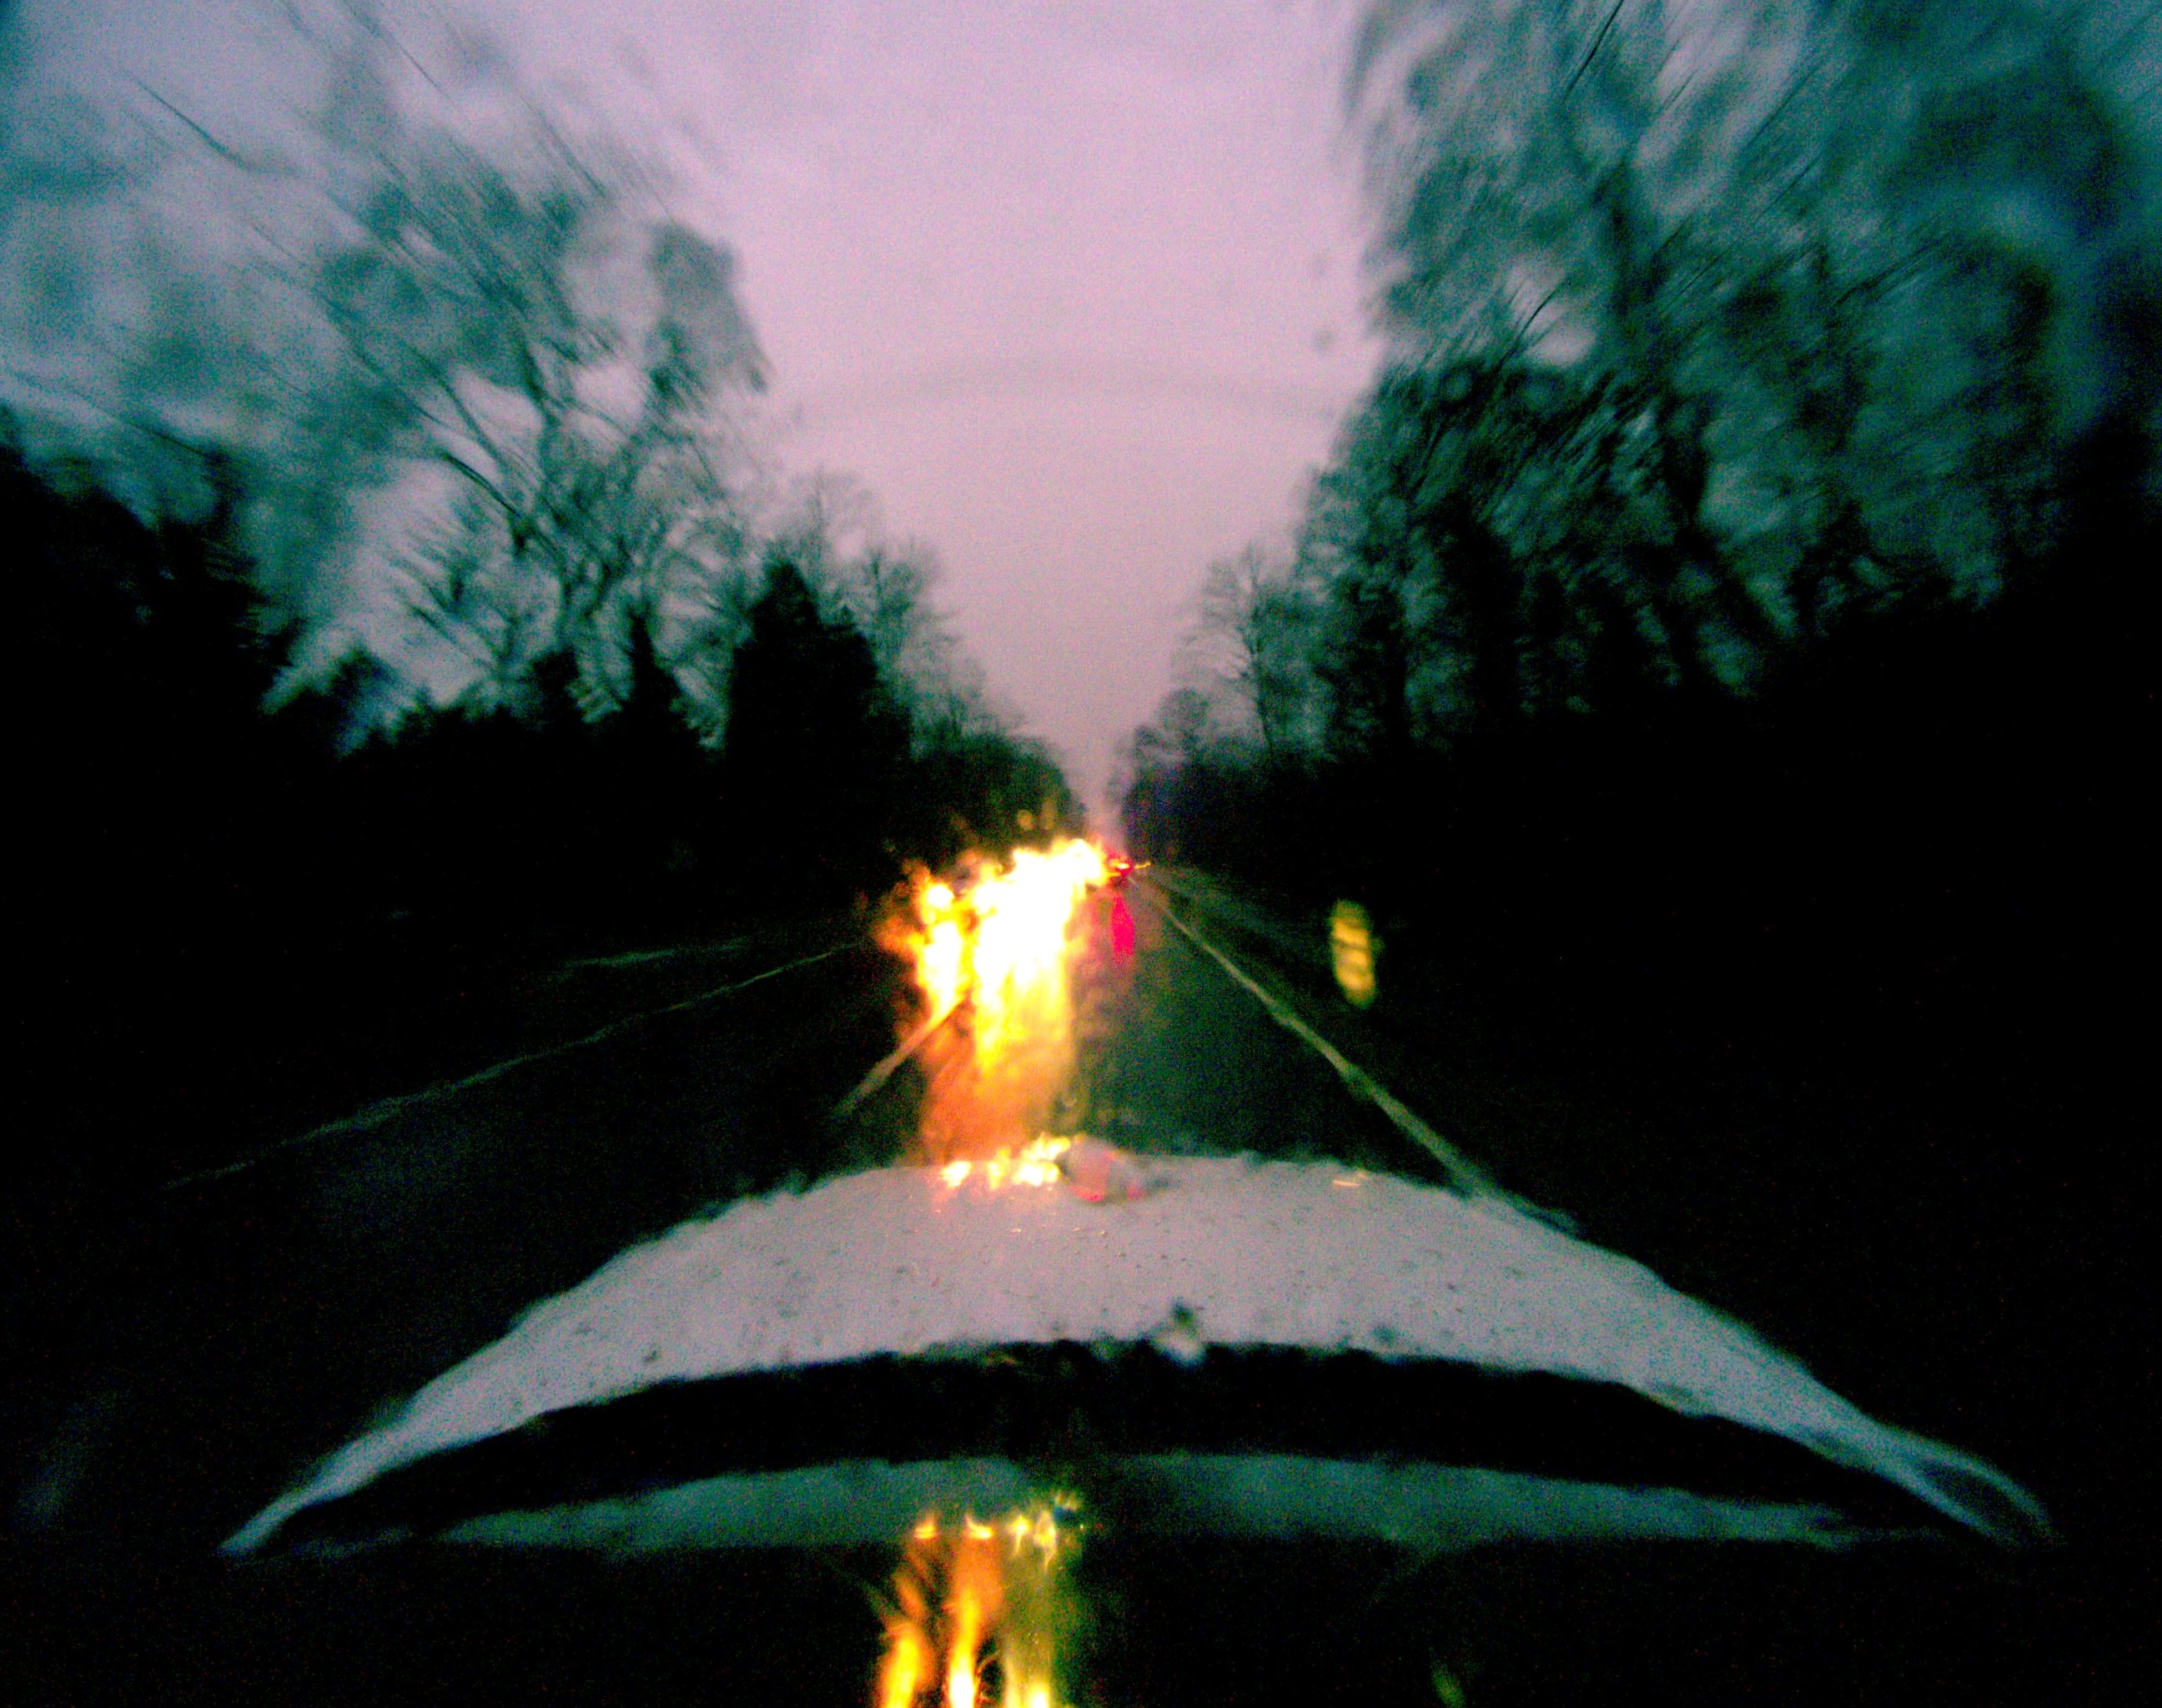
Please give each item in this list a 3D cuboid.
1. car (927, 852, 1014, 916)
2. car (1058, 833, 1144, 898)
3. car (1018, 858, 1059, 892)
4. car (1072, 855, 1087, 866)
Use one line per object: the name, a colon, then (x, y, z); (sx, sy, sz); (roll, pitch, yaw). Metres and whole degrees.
car: (-3.102, 0.807, 23.571); (1.793, 1.600, 3.863); (-3, 0, 2)
car: (0.890, 0.444, 33.220); (3.171, 2.386, 6.640); (0, 0, 3)
car: (-2.334, 1.128, 46.232); (1.815, 1.649, 4.752); (-4, 1, 2)
car: (-0.255, 0.960, 127.724); (1.966, 1.568, 4.932); (-3, 0, 4)
